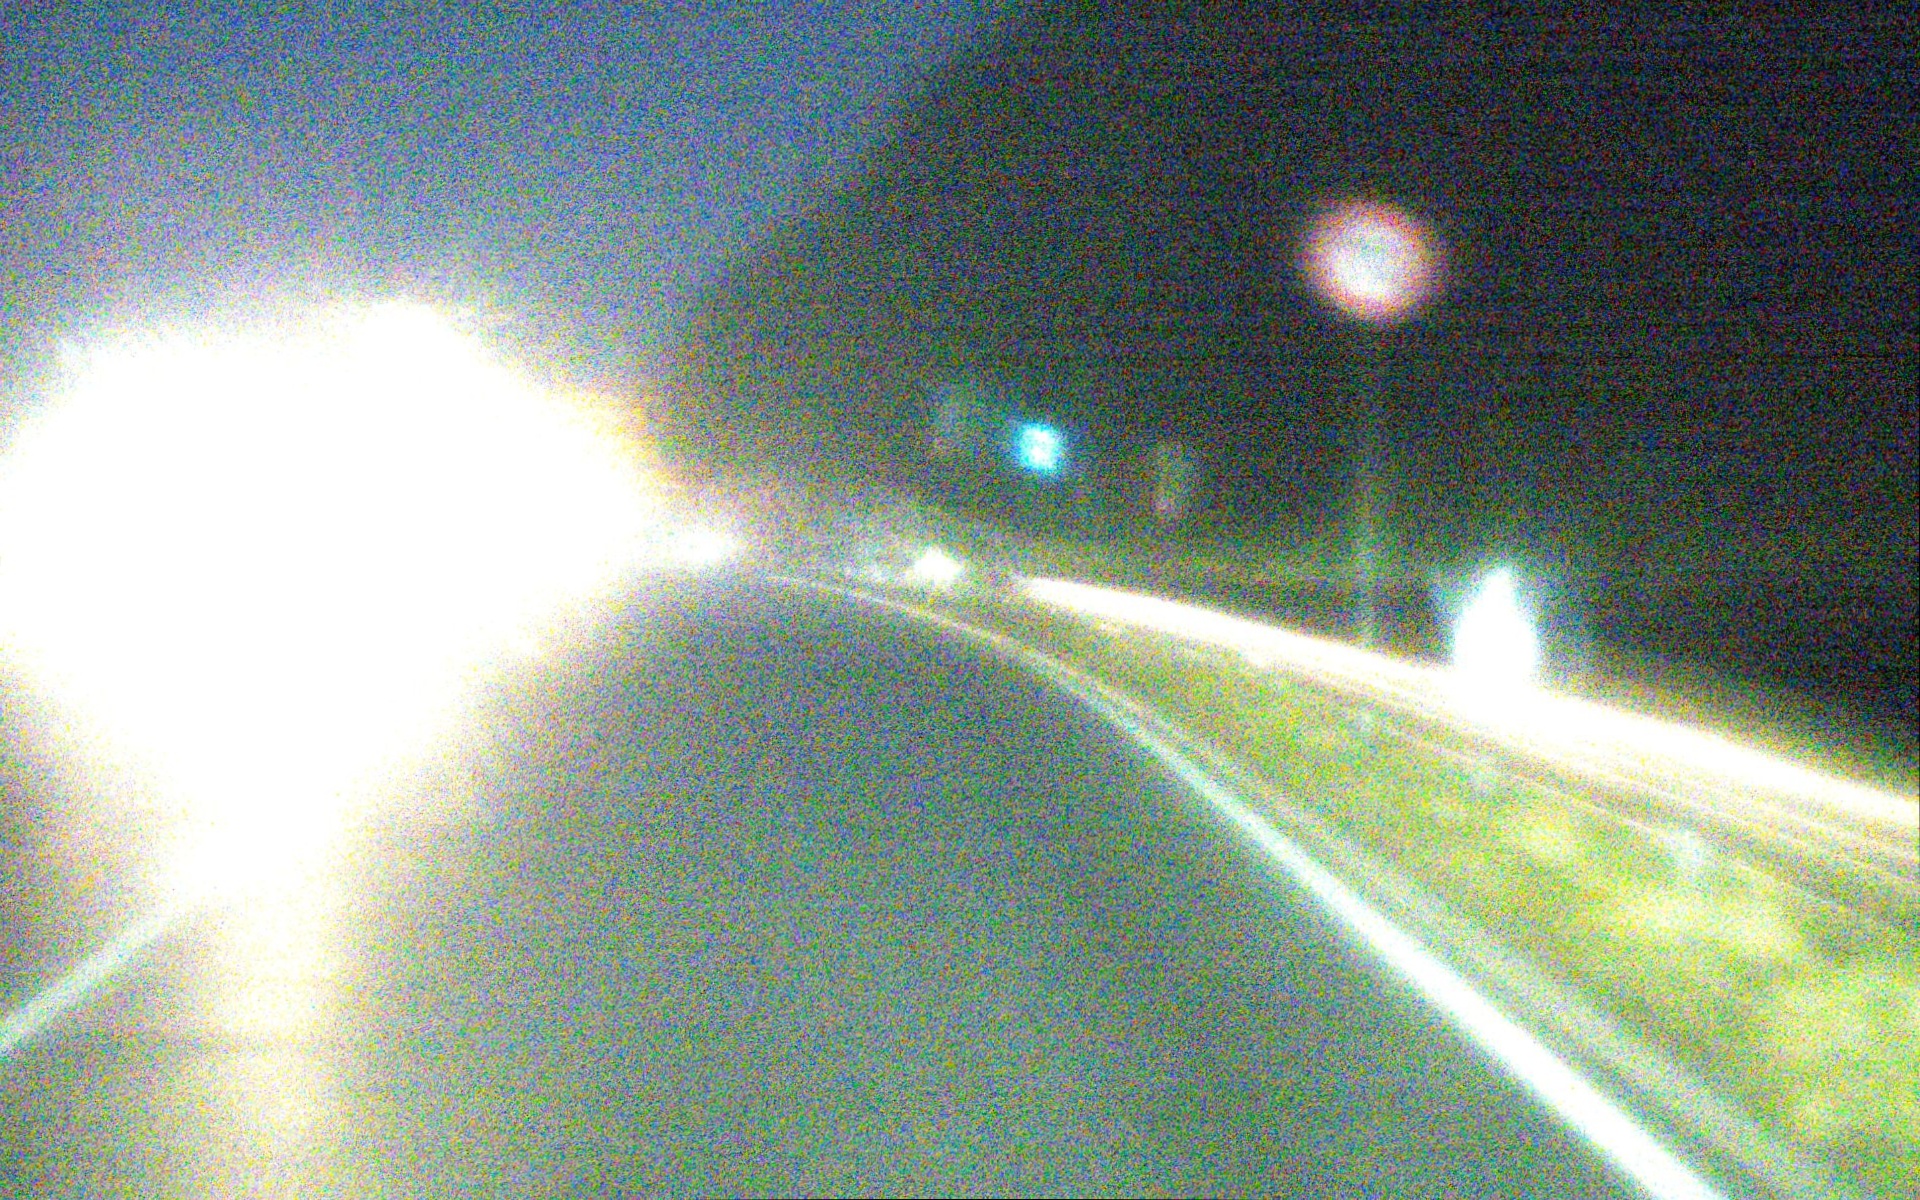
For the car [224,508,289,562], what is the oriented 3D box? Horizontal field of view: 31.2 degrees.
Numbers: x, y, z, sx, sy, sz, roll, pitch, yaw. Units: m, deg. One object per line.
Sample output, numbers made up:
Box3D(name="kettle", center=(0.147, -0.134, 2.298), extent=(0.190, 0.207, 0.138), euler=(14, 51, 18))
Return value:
Box3D(name="car", center=(-21.455, -1.979, 104.930), extent=(1.880, 1.595, 3.901), euler=(0, 1, -11))
